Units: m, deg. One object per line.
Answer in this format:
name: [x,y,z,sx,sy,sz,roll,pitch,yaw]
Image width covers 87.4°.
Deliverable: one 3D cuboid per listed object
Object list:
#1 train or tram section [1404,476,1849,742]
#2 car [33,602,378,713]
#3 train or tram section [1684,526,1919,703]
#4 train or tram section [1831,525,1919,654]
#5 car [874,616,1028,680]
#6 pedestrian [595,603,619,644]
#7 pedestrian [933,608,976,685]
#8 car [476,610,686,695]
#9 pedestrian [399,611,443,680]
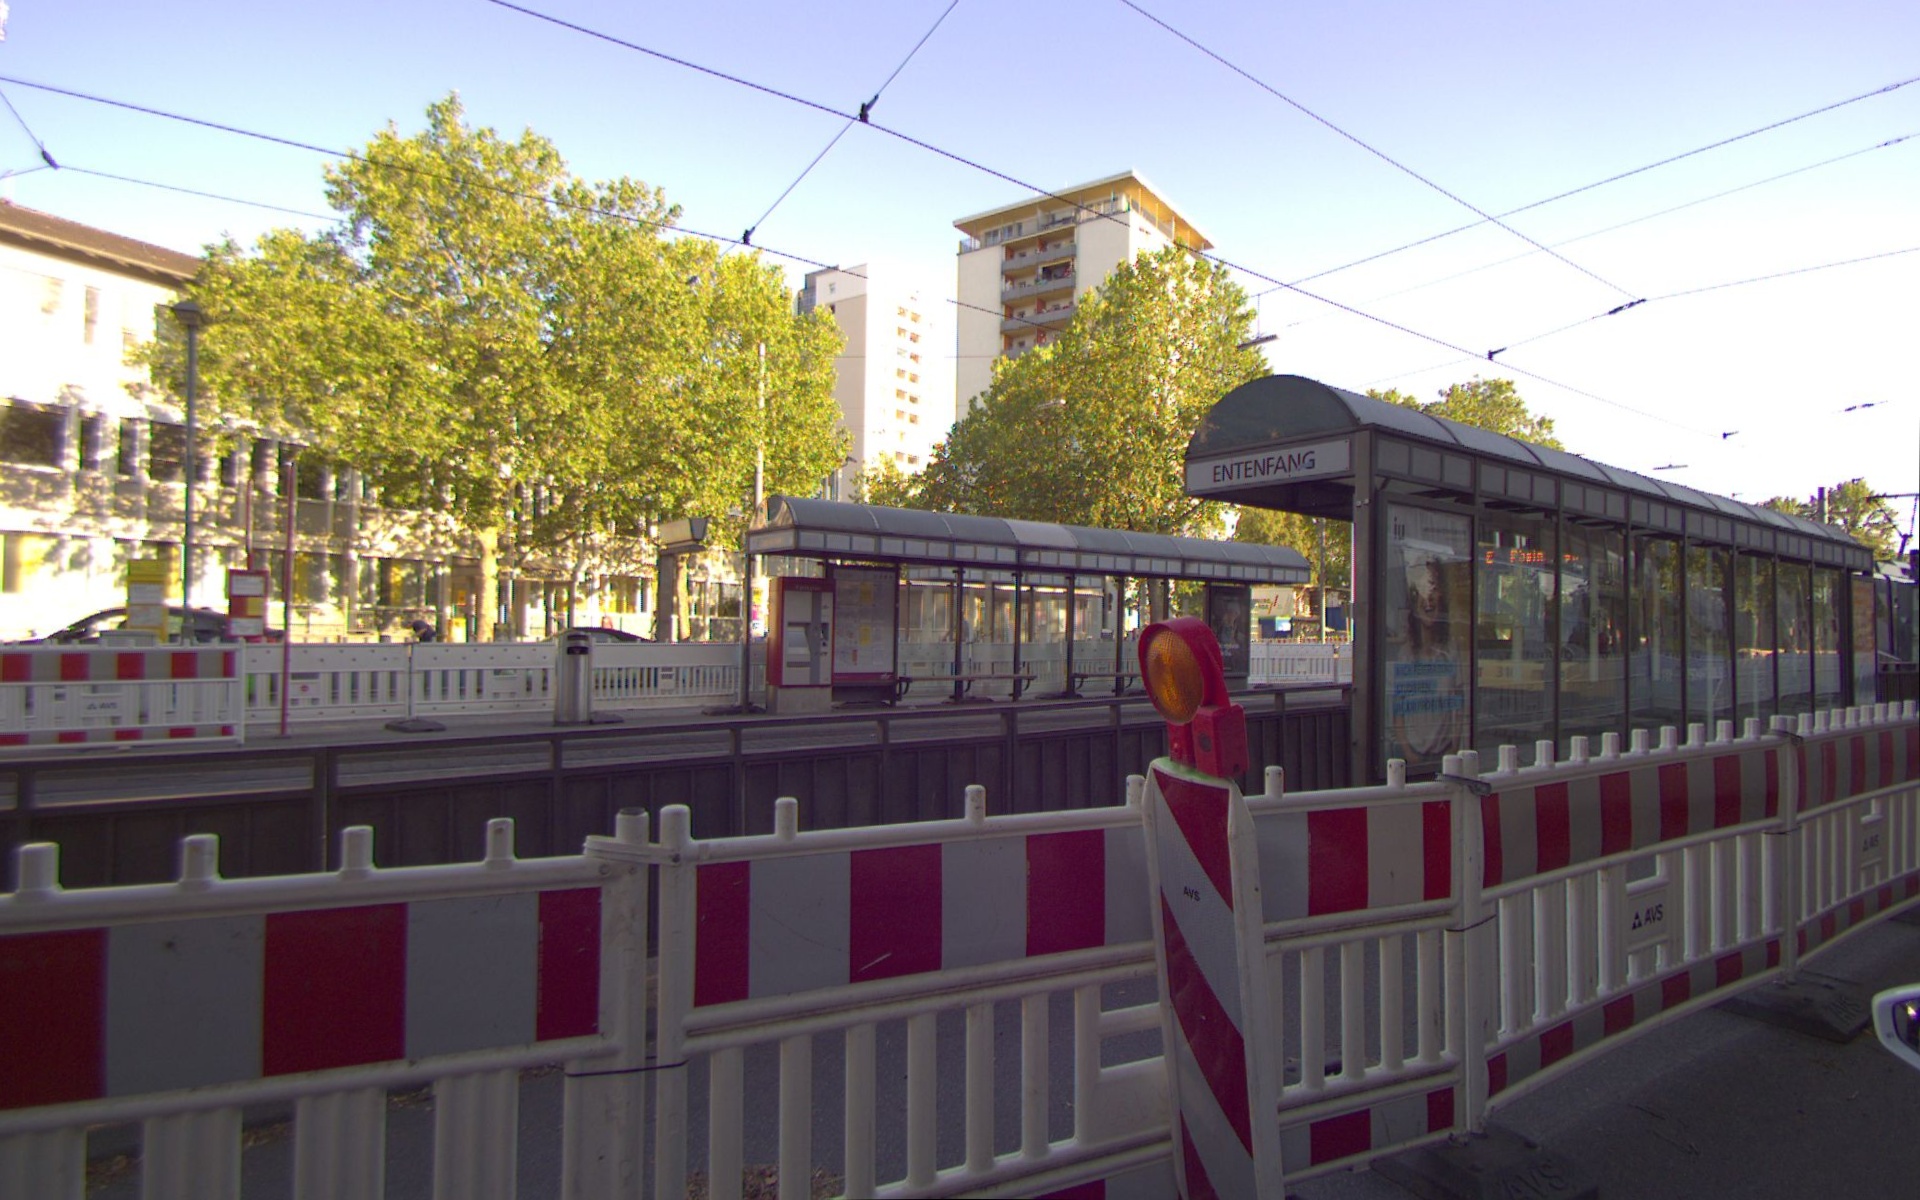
train or tram section: [12.462,0.178,18.013,11.656,3.581,2.668,1,0,-36]
car: [-12.731,0.954,17.371,4.511,1.683,1.982,2,-2,-34]
train or tram section: [21.631,0.435,25.016,11.477,3.606,2.666,2,0,-38]
train or tram section: [30.828,-0.149,31.844,11.479,3.580,2.666,2,0,-38]
car: [-0.230,1.322,28.174,3.959,1.683,1.901,2,-2,-35]
pedestrian: [-12.667,0.847,36.030,0.578,1.474,0.583,0,-2,41]
pedestrian: [-0.144,1.183,25.865,0.829,1.925,0.740,2,-2,-36]
car: [-8.234,1.113,21.908,3.958,1.683,1.982,2,-2,-34]
pedestrian: [-14.941,1.252,27.843,0.921,1.858,0.691,2,-2,-43]
